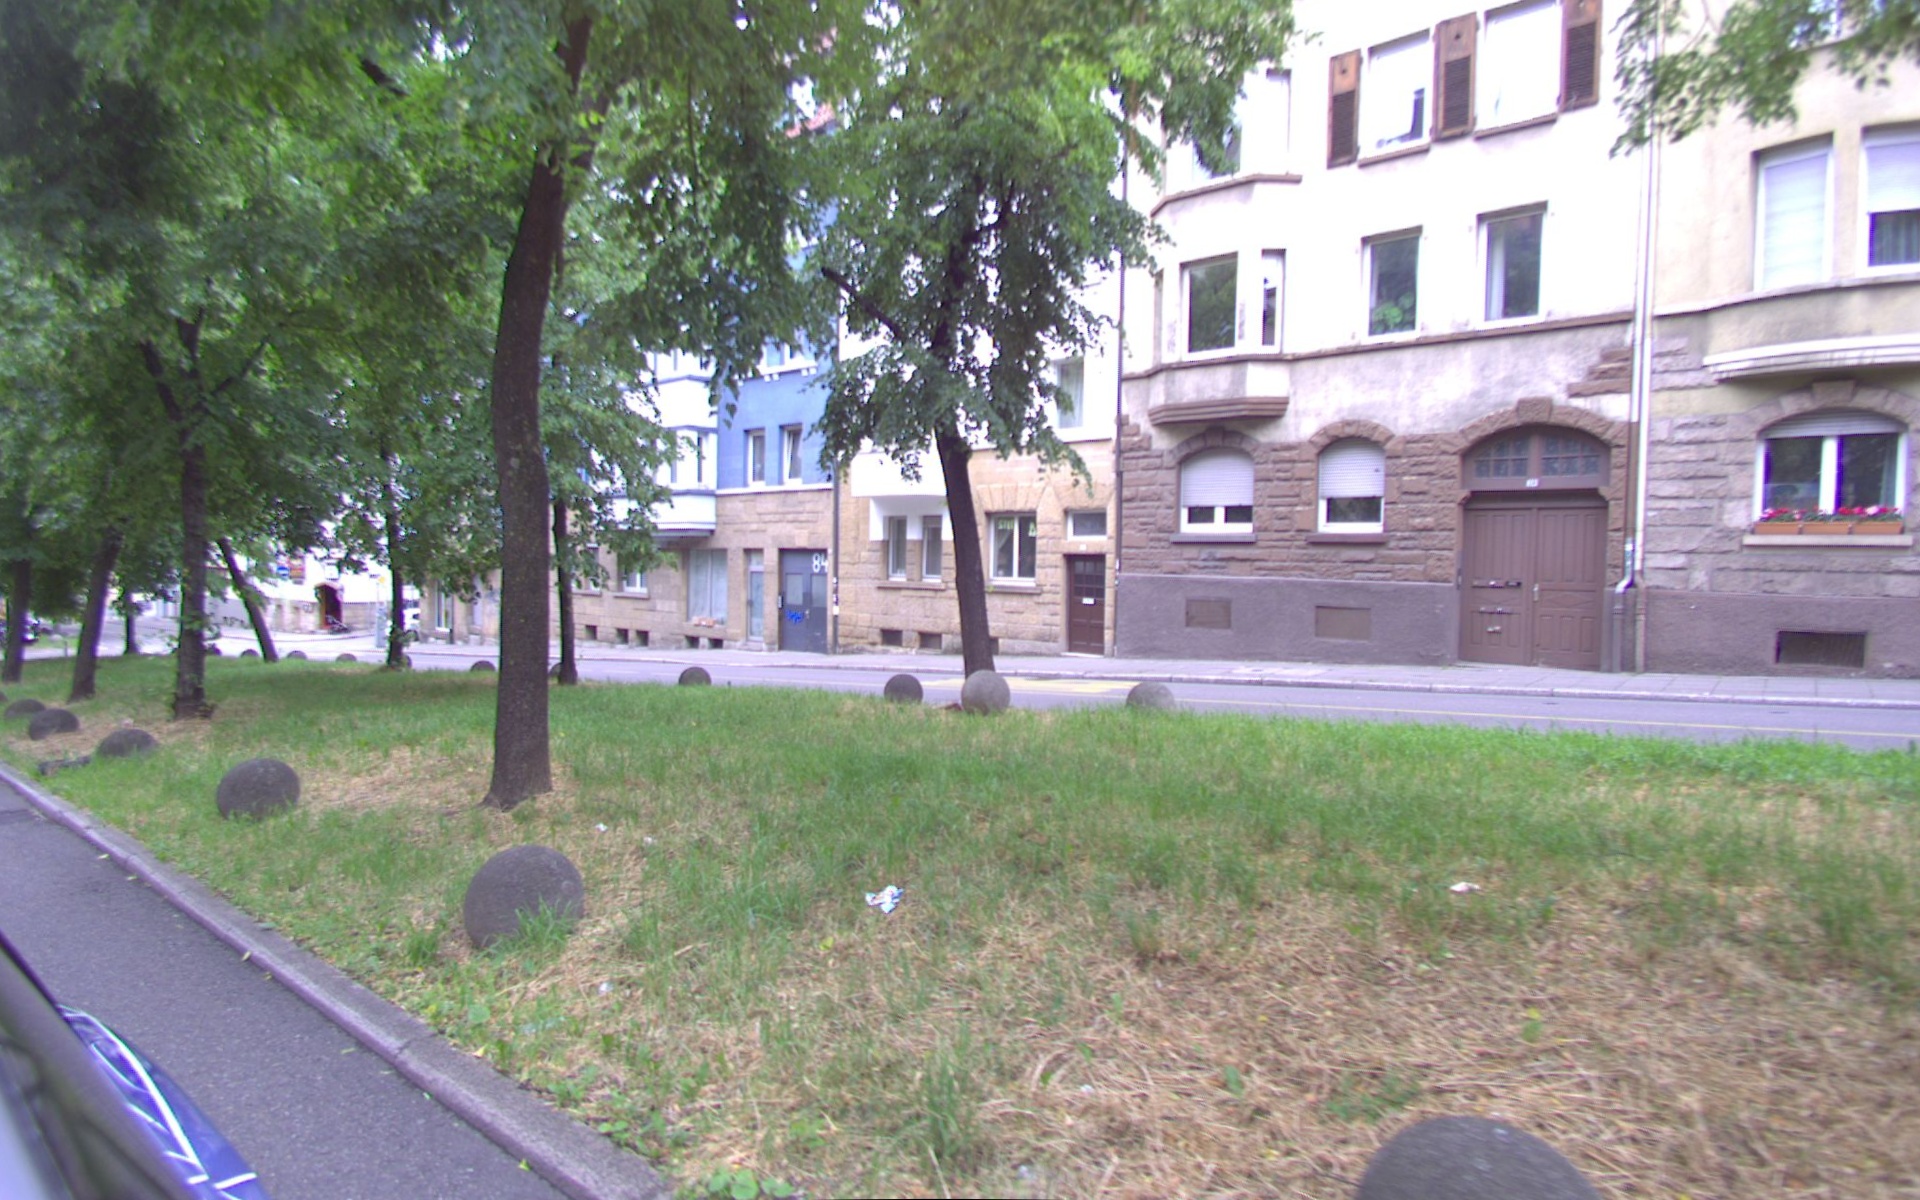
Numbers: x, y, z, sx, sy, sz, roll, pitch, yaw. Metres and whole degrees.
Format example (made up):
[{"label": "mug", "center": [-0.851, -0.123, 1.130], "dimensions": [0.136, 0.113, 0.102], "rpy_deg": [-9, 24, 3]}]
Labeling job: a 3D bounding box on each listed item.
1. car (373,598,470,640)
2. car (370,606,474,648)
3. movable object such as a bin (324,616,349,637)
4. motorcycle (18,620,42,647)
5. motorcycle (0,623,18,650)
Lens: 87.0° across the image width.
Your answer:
[{"label": "car", "center": [-28.224, 0.945, 53.136], "dimensions": [1.871, 1.712, 3.957], "rpy_deg": [0, 6, 41]}, {"label": "car", "center": [-25.793, 1.233, 48.614], "dimensions": [1.869, 1.480, 3.961], "rpy_deg": [2, 7, 38]}, {"label": "movable object such as a bin", "center": [-32.159, 1.375, 52.166], "dimensions": [0.667, 1.001, 0.877], "rpy_deg": [0, 3, 39]}, {"label": "motorcycle", "center": [-42.386, 1.509, 46.136], "dimensions": [0.740, 1.081, 1.853], "rpy_deg": [-2, 3, -42]}, {"label": "motorcycle", "center": [-41.897, 1.612, 43.729], "dimensions": [0.551, 1.104, 1.712], "rpy_deg": [3, 3, 44]}]
